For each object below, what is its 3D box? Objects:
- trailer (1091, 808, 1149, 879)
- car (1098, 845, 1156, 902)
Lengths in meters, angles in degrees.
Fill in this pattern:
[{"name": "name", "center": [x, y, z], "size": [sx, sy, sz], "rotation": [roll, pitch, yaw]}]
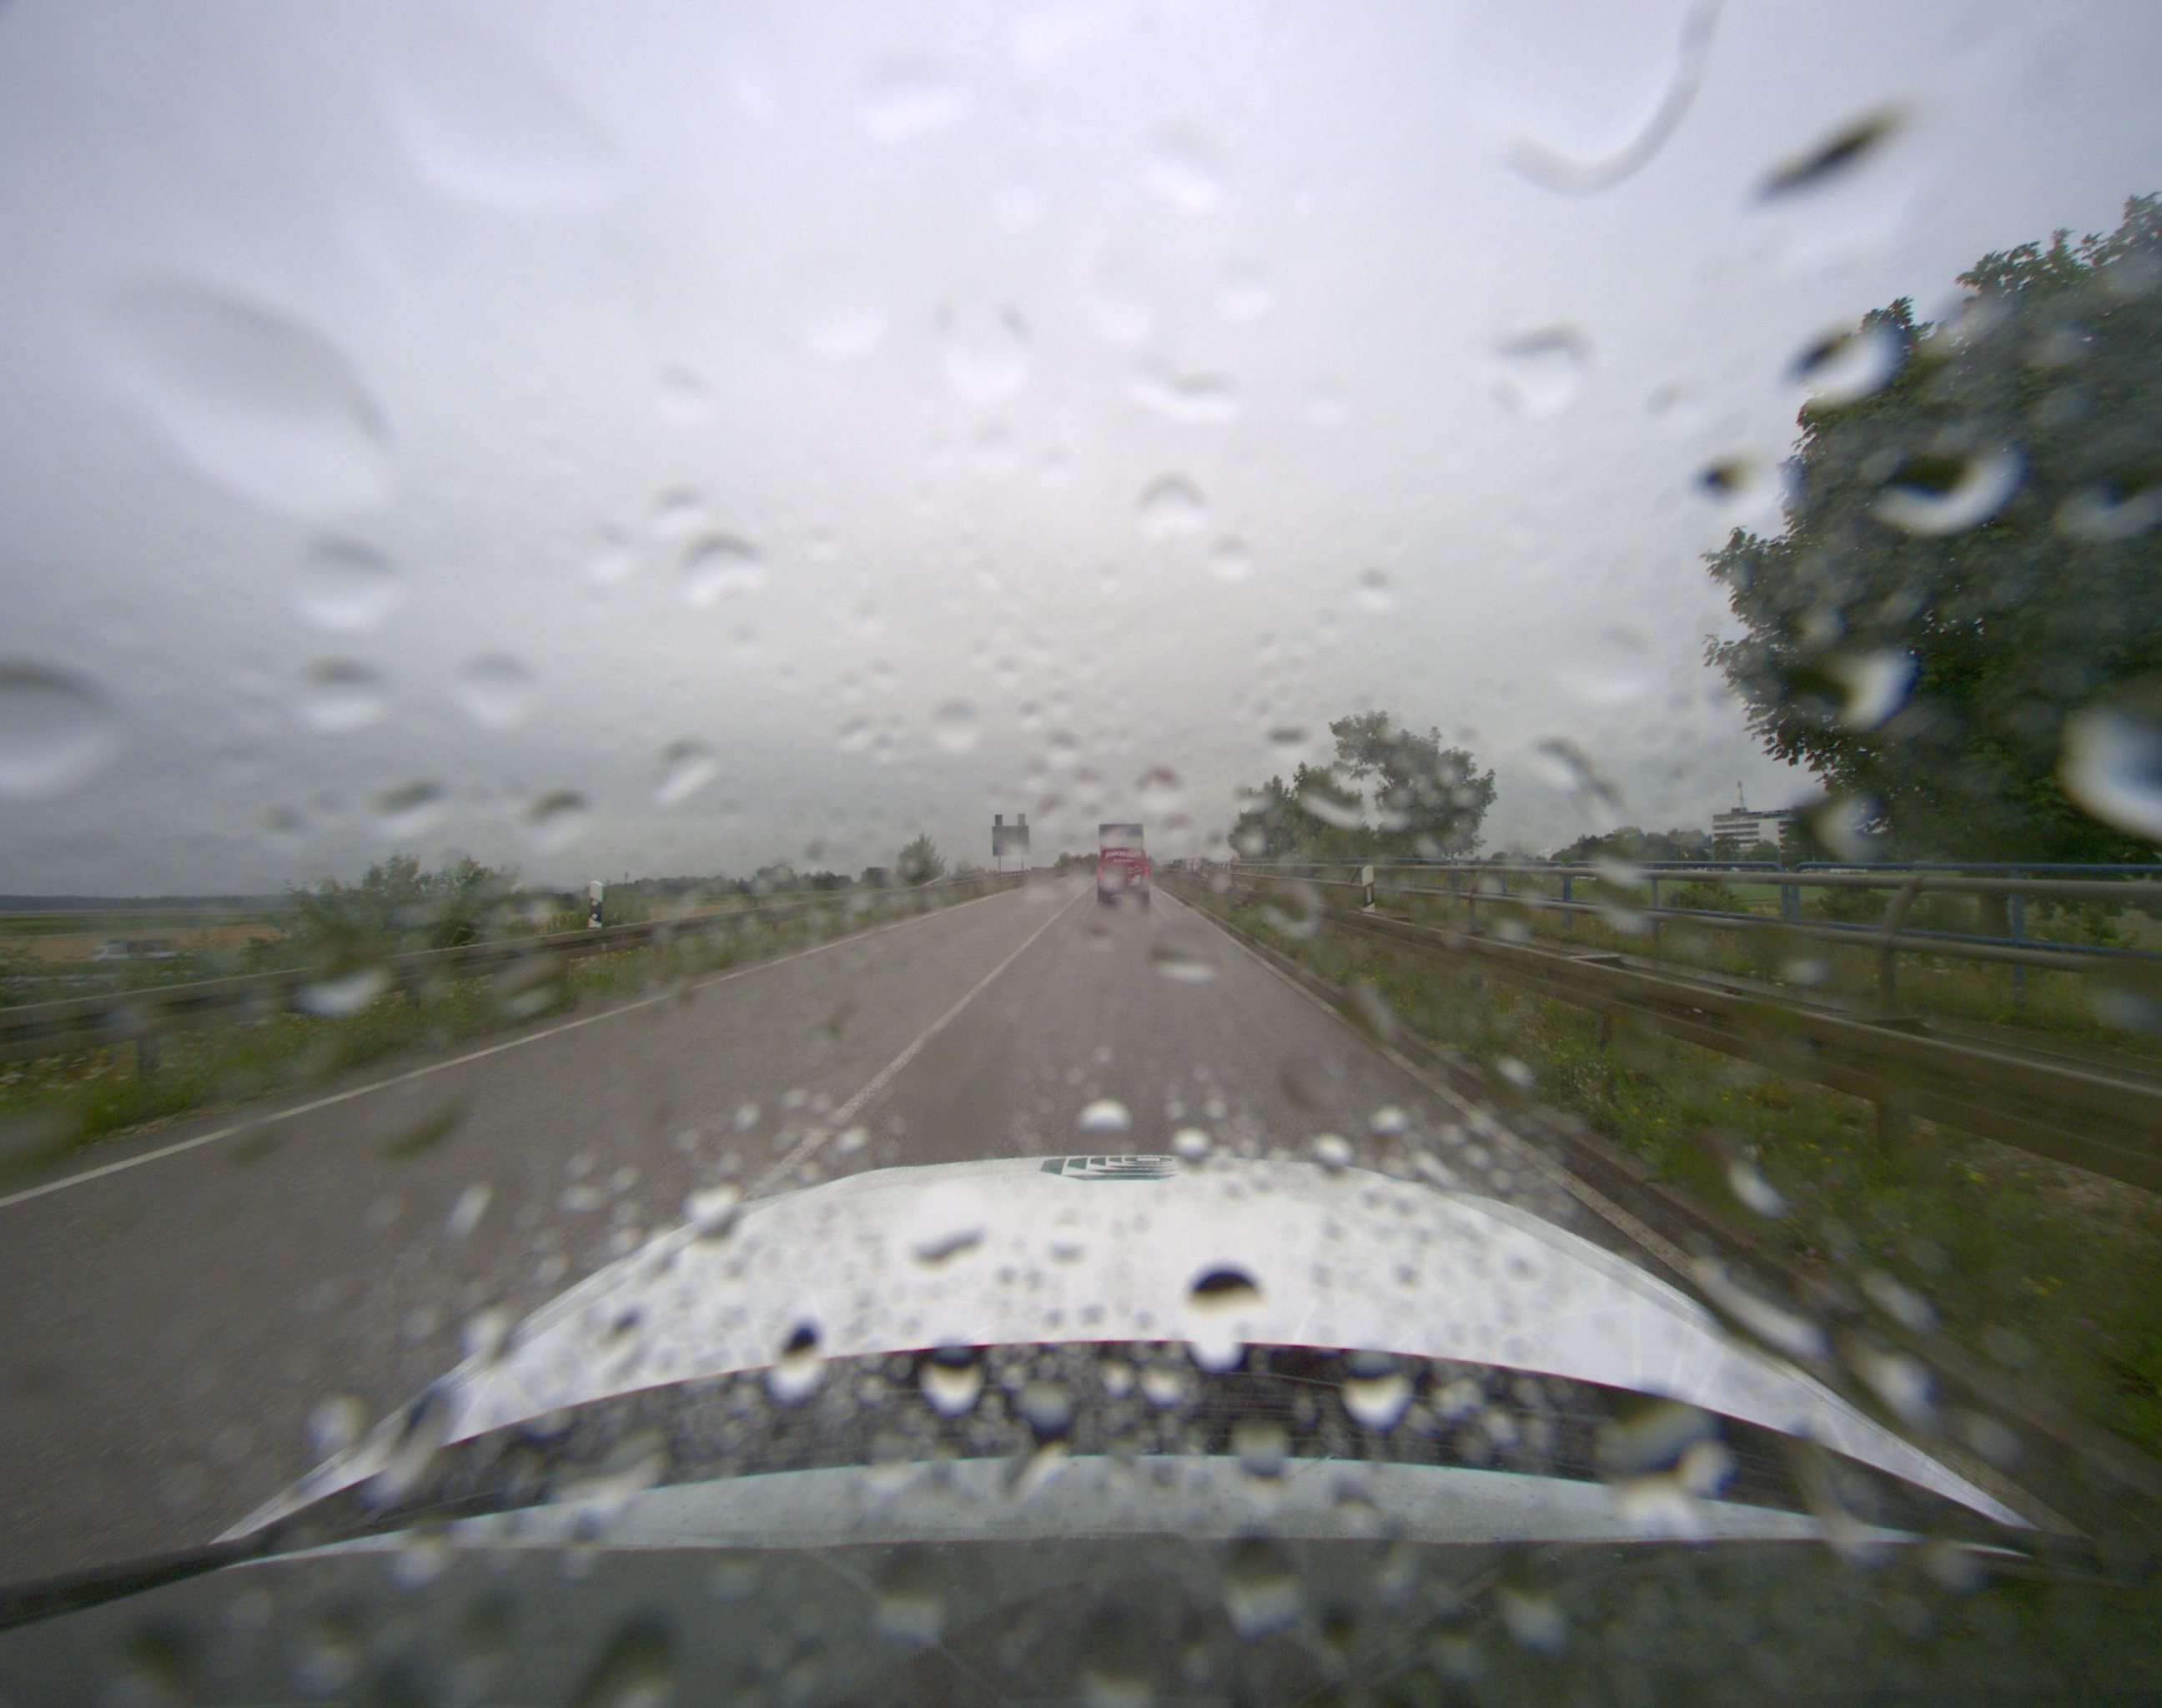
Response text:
[{"name": "trailer", "center": [2.516, -0.480, 50.312], "size": [3.187, 3.922, 8.748], "rotation": [1, -2, 4]}, {"name": "car", "center": [1.638, 0.681, 29.901], "size": [1.986, 1.926, 4.145], "rotation": [0, 0, 2]}]
